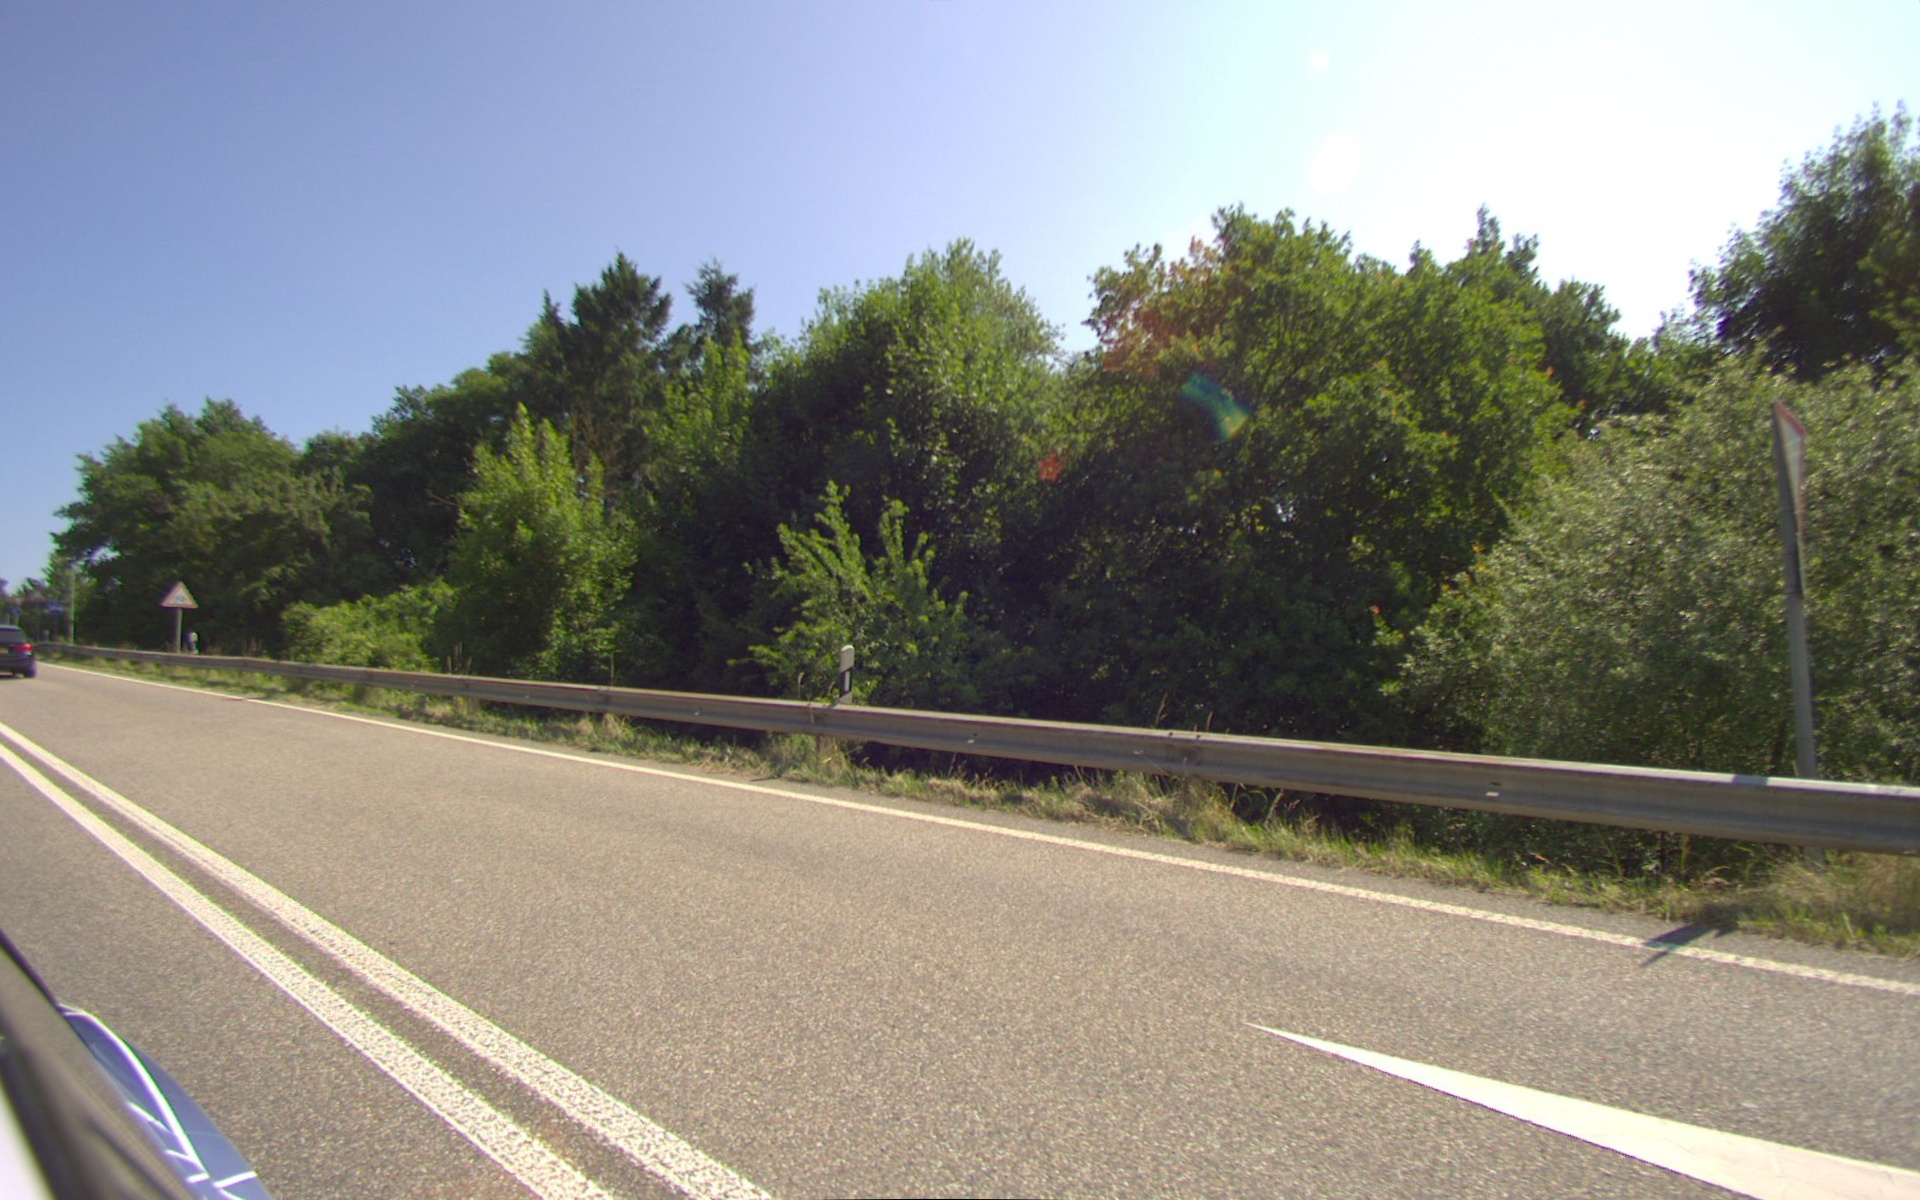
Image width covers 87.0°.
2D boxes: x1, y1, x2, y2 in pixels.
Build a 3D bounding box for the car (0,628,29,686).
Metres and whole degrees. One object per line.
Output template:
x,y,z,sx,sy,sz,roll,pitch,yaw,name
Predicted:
-26.462,1.507,27.289,4.218,1.484,1.590,-1,-2,42,car
